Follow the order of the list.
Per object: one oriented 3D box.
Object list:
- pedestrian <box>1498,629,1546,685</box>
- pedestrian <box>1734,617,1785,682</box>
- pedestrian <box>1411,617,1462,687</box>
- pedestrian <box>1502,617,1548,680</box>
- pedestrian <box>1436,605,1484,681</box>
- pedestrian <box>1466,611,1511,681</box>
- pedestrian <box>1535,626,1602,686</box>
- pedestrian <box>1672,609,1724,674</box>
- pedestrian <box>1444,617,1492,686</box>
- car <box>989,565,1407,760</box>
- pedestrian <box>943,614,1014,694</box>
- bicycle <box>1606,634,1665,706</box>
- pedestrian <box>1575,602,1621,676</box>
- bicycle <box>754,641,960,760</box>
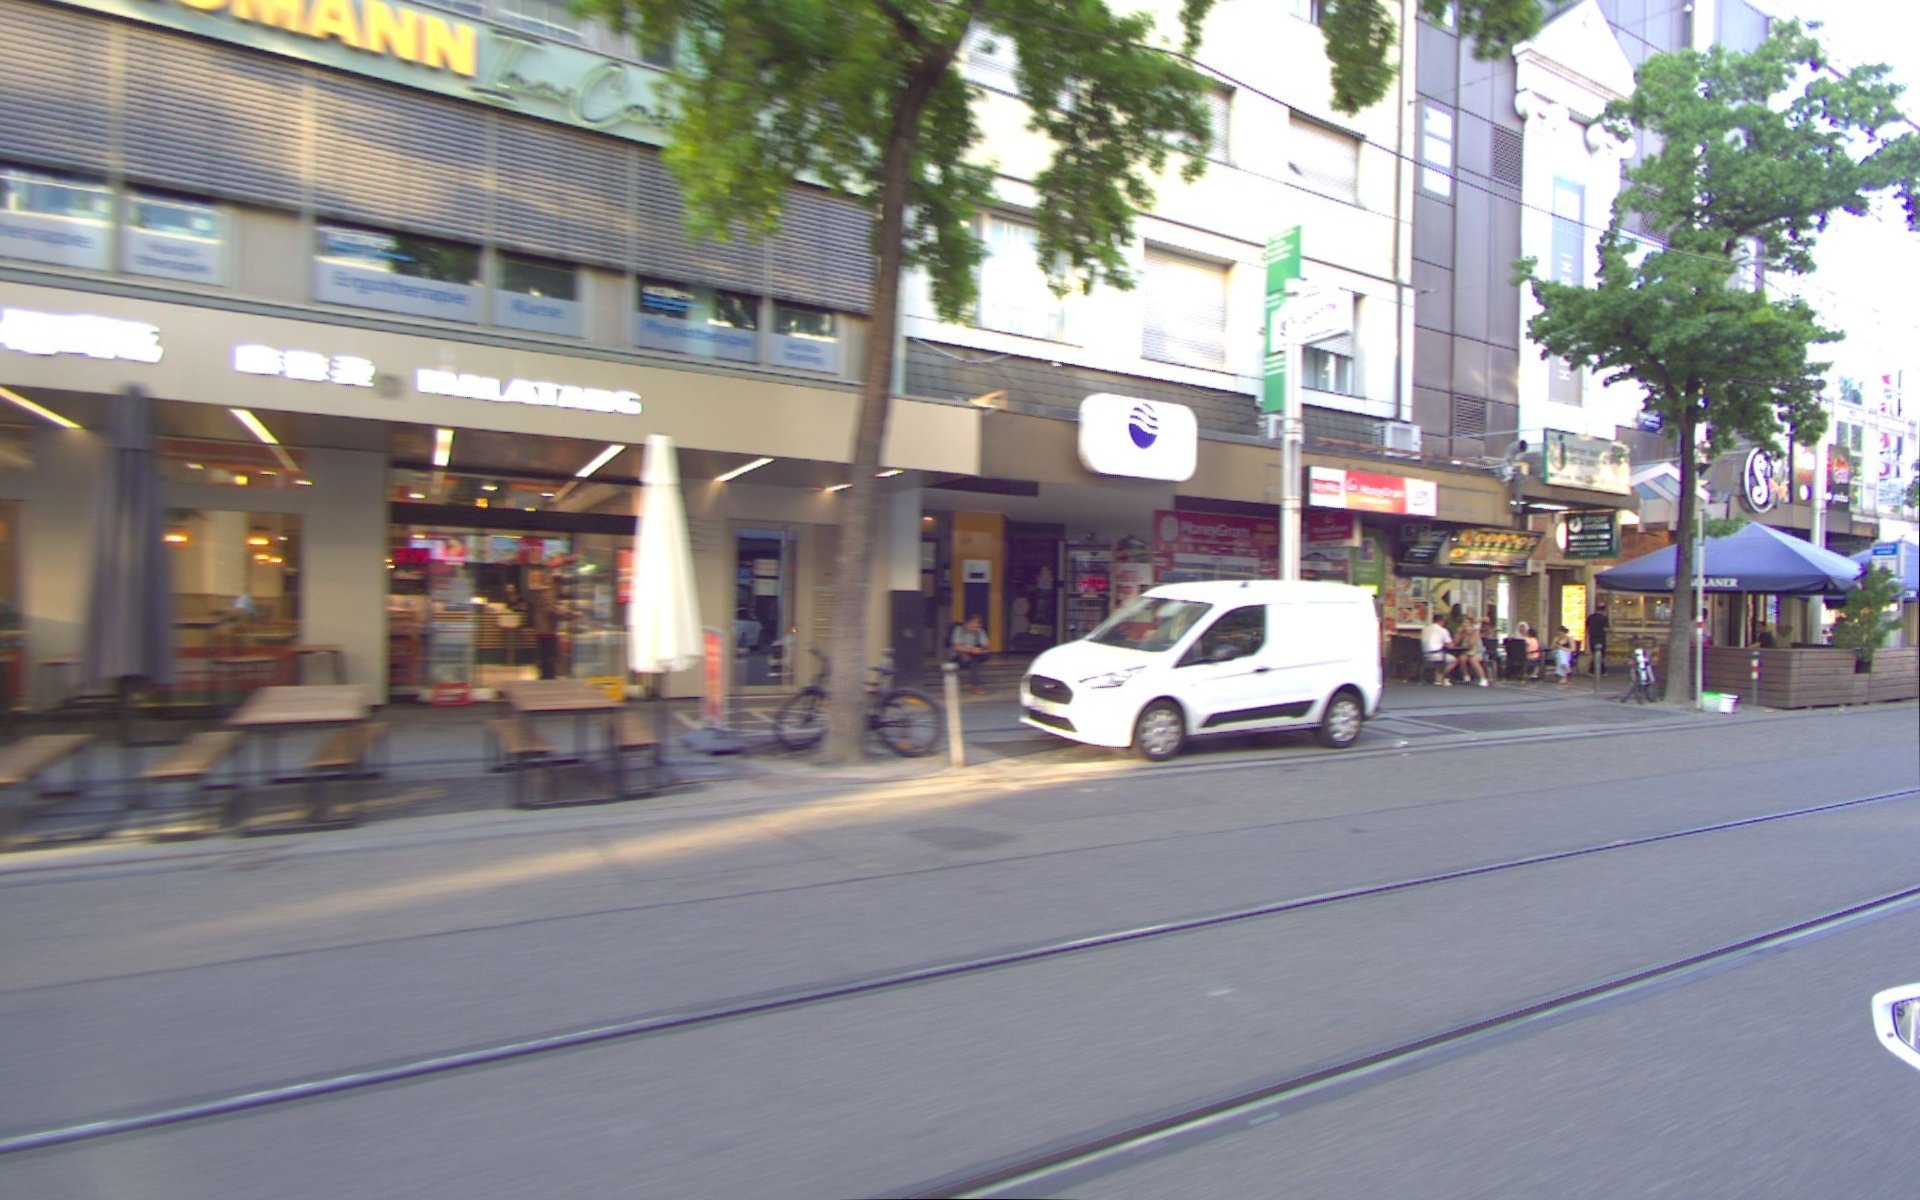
[{"bbox_3d":[11.314,1.141,20.228,0.649,1.043,0.454,3,2,1],"label":"pedestrian"},{"bbox_3d":[16.447,1.019,20.661,0.598,1.273,0.556,2,3,-29],"label":"pedestrian"},{"bbox_3d":[8.953,0.966,18.884,0.653,1.259,0.509,2,3,-29],"label":"pedestrian"},{"bbox_3d":[11.999,1.030,21.345,0.597,1.274,0.557,2,2,-25],"label":"pedestrian"},{"bbox_3d":[10.062,0.858,20.213,0.505,1.453,0.607,2,3,-26],"label":"pedestrian"},{"bbox_3d":[10.795,0.937,20.527,0.596,1.391,0.442,2,2,-20],"label":"pedestrian"},{"bbox_3d":[12.487,1.144,20.642,0.766,1.135,0.820,2,2,-19],"label":"pedestrian"},{"bbox_3d":[15.066,0.848,20.520,0.553,1.273,0.601,2,3,-27],"label":"pedestrian"},{"bbox_3d":[9.787,0.981,19.348,0.580,1.273,0.519,2,3,-29],"label":"pedestrian"},{"bbox_3d":[2.731,0.640,11.313,4.459,1.842,1.787,2,1,-28],"label":"car"},{"bbox_3d":[0.272,0.808,15.109,0.720,1.109,0.774,2,2,-29],"label":"pedestrian"},{"bbox_3d":[11.967,1.206,17.800,0.800,1.118,2.159,1,0,34],"label":"bicycle"},{"bbox_3d":[14.375,0.870,22.646,0.553,1.618,0.601,2,2,-27],"label":"pedestrian"},{"bbox_3d":[-0.997,0.989,10.055,1.979,1.082,0.613,1,0,0],"label":"bicycle"}]
